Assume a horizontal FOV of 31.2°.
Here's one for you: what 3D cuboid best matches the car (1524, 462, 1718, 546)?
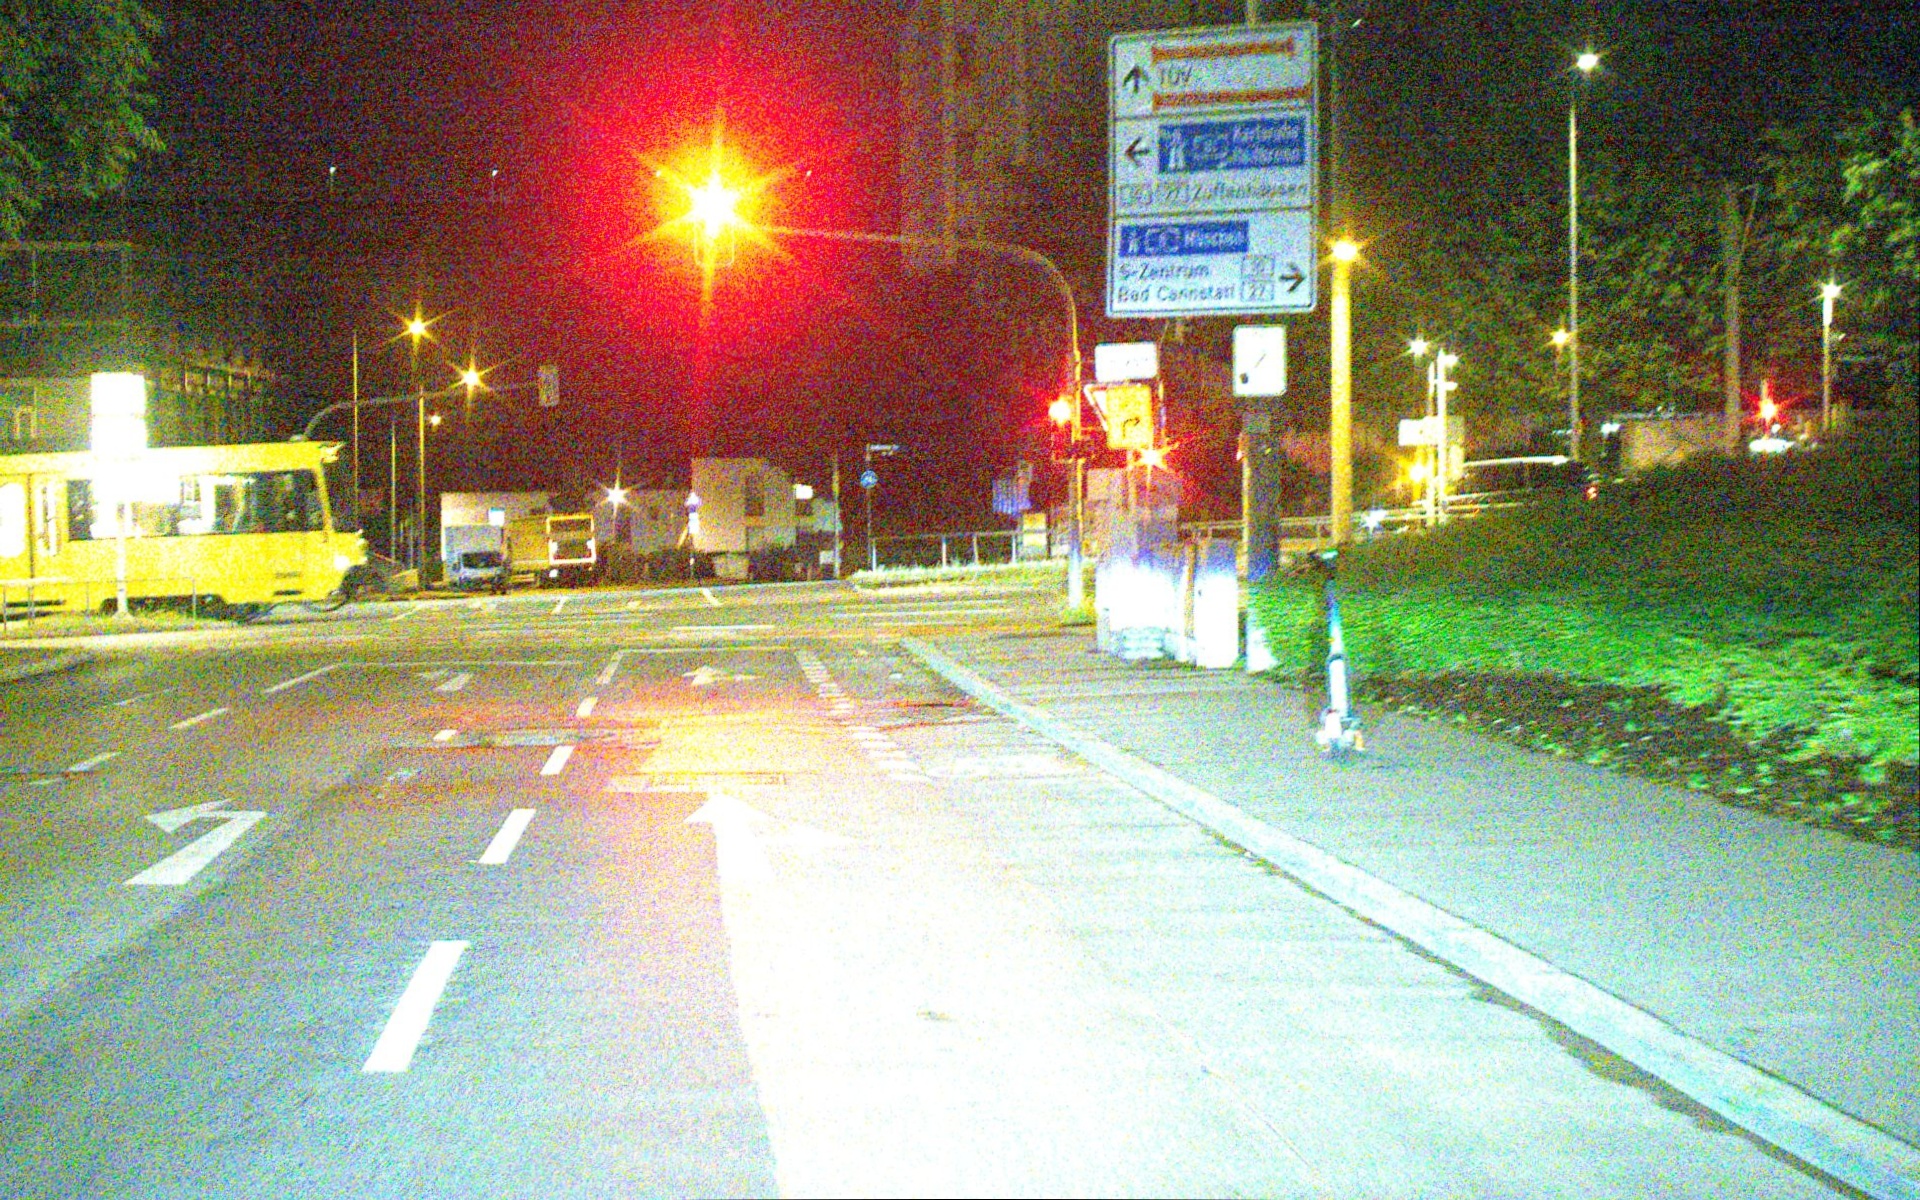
[{"bbox_3d":[14.989,-2.191,78.085,4.059,1.610,1.869,-4,1,5],"label":"car"}]

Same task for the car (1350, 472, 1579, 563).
[{"bbox_3d":[10.878,-1.794,74.401,4.613,1.634,2.000,-4,1,2],"label":"car"}]

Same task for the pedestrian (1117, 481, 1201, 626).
[{"bbox_3d":[2.425,-0.567,41.996,0.900,1.706,0.775,-3,0,2],"label":"pedestrian"}]

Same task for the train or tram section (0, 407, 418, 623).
[{"bbox_3d":[-20.398,-1.427,66.722,19.175,3.810,2.923,-2,1,2],"label":"train or tram section"}]

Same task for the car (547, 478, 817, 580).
[{"bbox_3d":[-13.739,-3.536,169.693,12.381,4.693,4.811,-2,1,-18],"label":"car"}]

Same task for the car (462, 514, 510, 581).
[{"bbox_3d":[-21.576,-2.381,156.412,1.993,2.963,4.001,-2,1,-9],"label":"car"}]

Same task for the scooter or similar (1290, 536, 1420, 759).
[{"bbox_3d":[2.352,0.265,20.576,0.494,1.257,1.320,-3,1,-3],"label":"scooter or similar"}]
